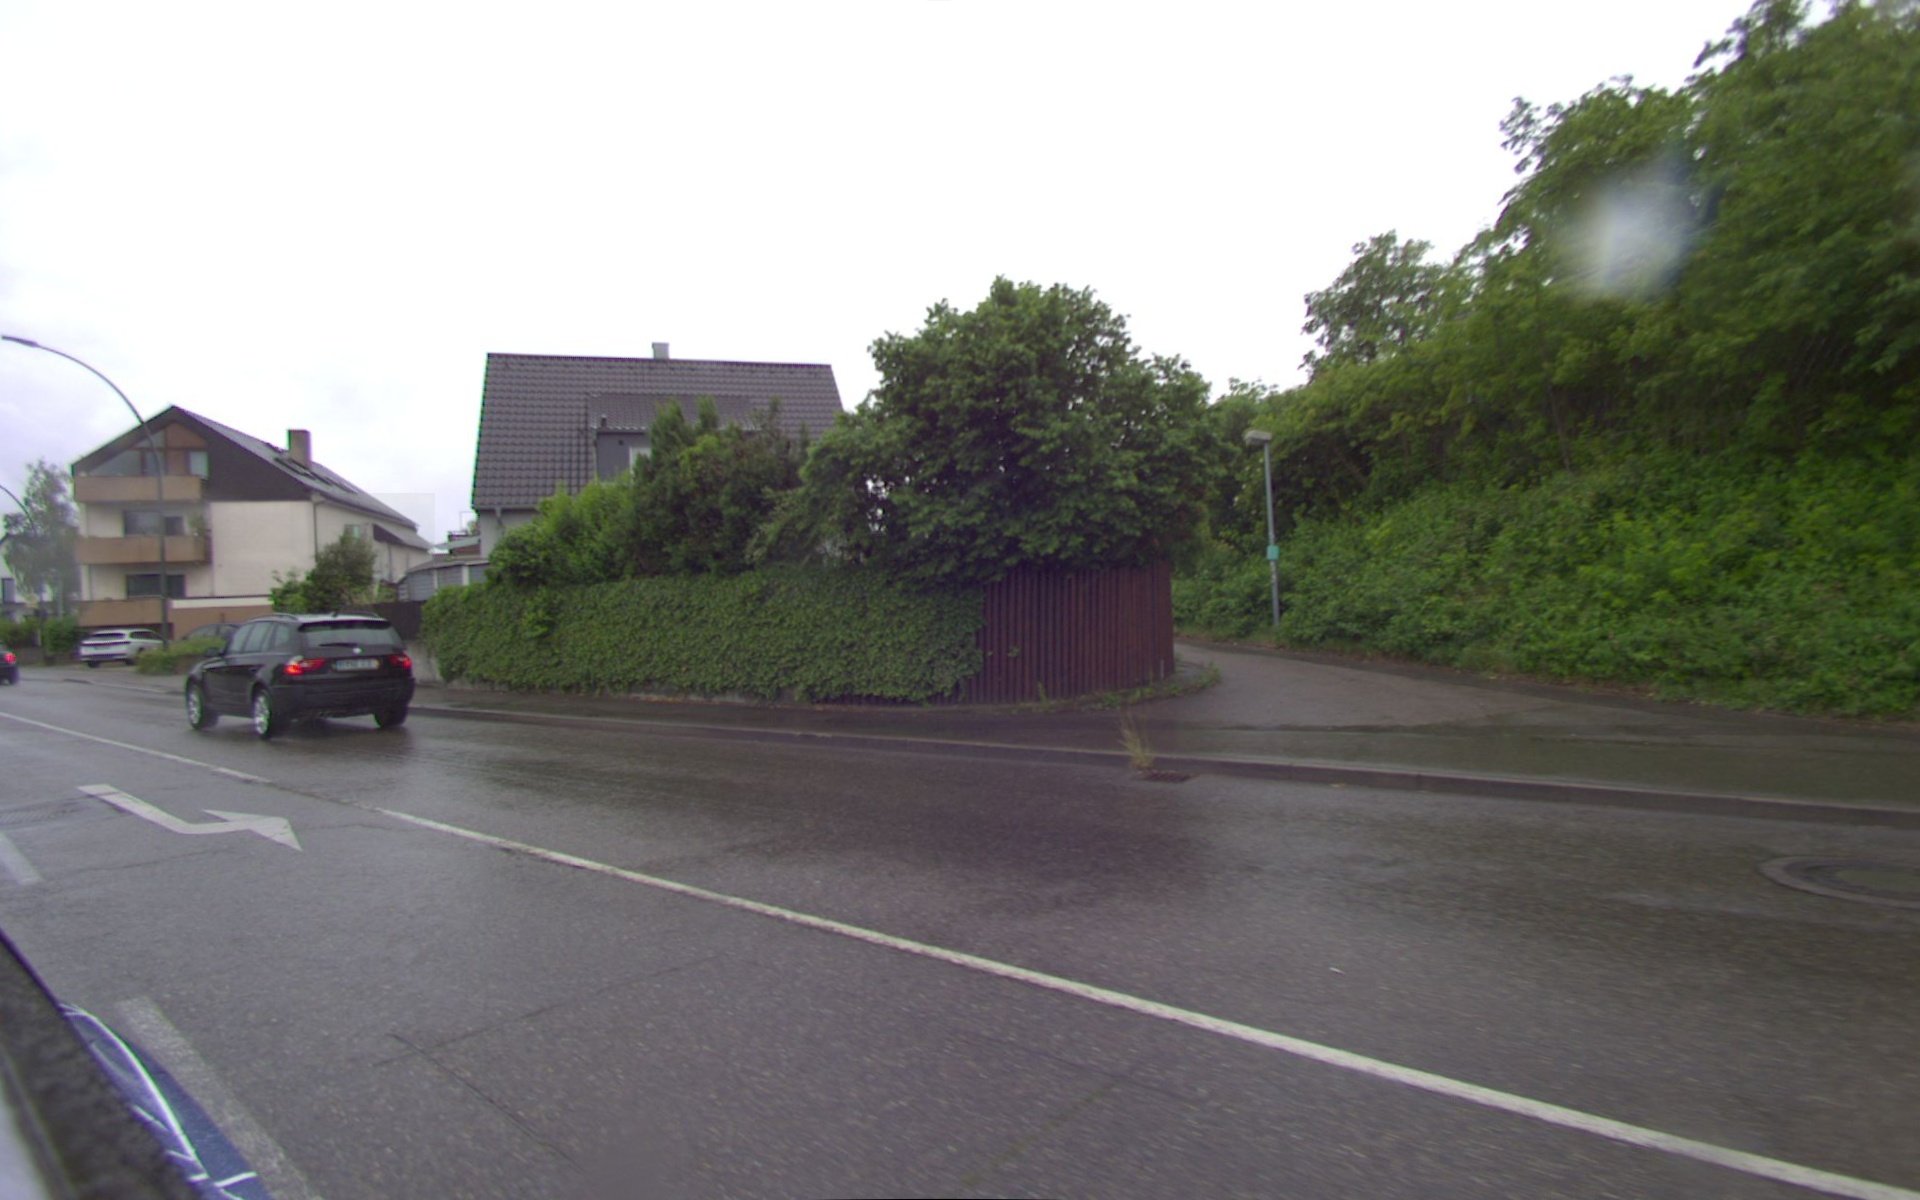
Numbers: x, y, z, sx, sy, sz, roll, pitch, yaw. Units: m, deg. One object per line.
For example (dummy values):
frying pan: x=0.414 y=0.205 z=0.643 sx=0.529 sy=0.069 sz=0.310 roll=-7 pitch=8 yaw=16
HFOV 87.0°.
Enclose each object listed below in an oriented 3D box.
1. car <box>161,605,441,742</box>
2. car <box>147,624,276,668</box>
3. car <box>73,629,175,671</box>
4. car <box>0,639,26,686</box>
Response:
car: x=-9.695 y=0.977 z=14.786 sx=4.407 sy=1.680 sz=1.976 roll=-2 pitch=0 yaw=36
car: x=-28.955 y=1.749 z=39.236 sx=3.609 sy=1.530 sz=1.759 roll=-2 pitch=0 yaw=-14
car: x=-34.483 y=2.014 z=41.871 sx=1.837 sy=1.530 sz=4.012 roll=-1 pitch=0 yaw=-17
car: x=-31.527 y=2.000 z=32.323 sx=4.620 sy=1.415 sz=1.973 roll=-2 pitch=-1 yaw=40
